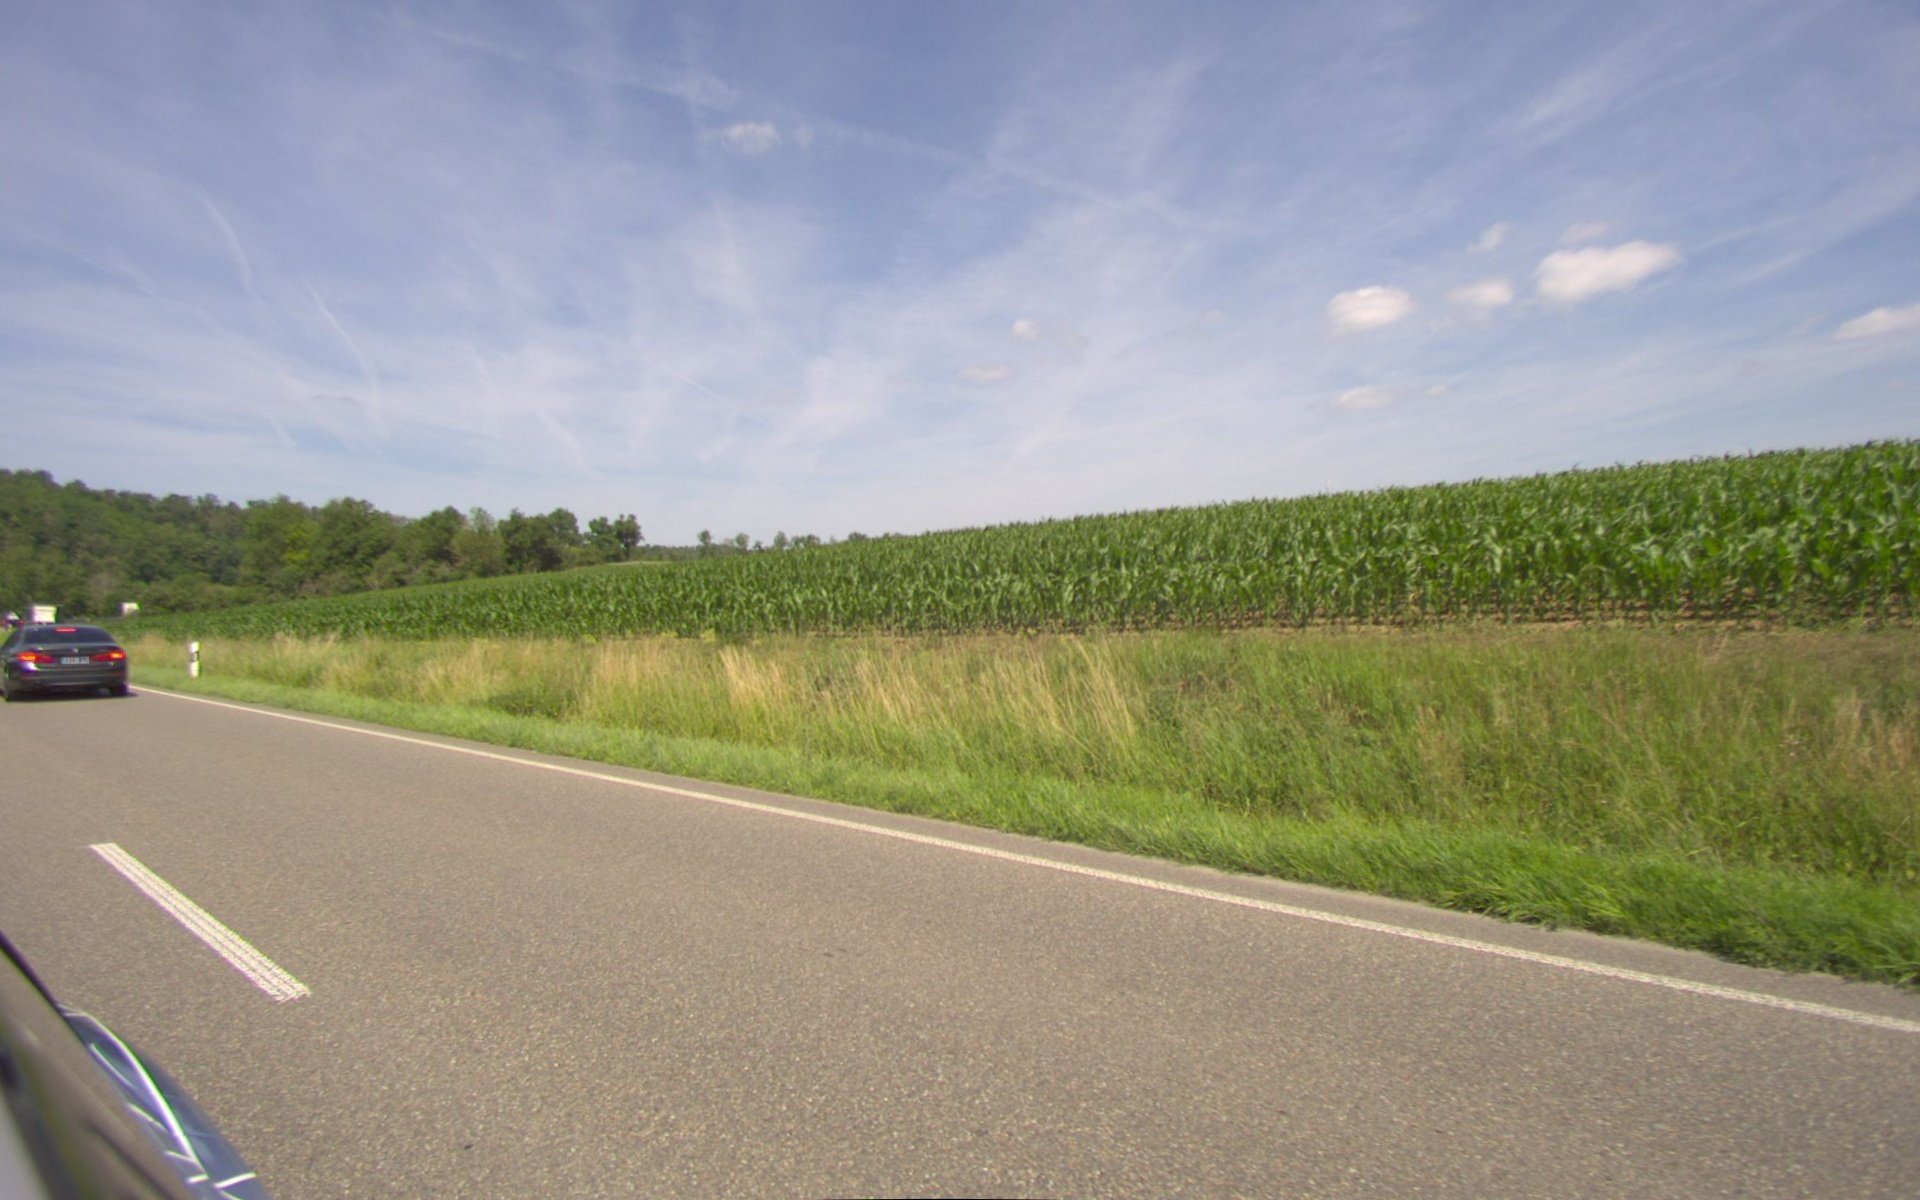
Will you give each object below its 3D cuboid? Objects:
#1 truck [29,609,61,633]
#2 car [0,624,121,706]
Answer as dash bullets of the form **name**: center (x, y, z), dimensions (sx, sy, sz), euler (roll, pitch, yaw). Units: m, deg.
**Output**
- **truck**: center (-145.729, 3.326, 161.286), dimensions (2.705, 3.606, 9.749), euler (0, -1, -36)
- **car**: center (-18.490, 1.254, 20.502), dimensions (4.348, 1.468, 1.655), euler (-2, -2, 41)
